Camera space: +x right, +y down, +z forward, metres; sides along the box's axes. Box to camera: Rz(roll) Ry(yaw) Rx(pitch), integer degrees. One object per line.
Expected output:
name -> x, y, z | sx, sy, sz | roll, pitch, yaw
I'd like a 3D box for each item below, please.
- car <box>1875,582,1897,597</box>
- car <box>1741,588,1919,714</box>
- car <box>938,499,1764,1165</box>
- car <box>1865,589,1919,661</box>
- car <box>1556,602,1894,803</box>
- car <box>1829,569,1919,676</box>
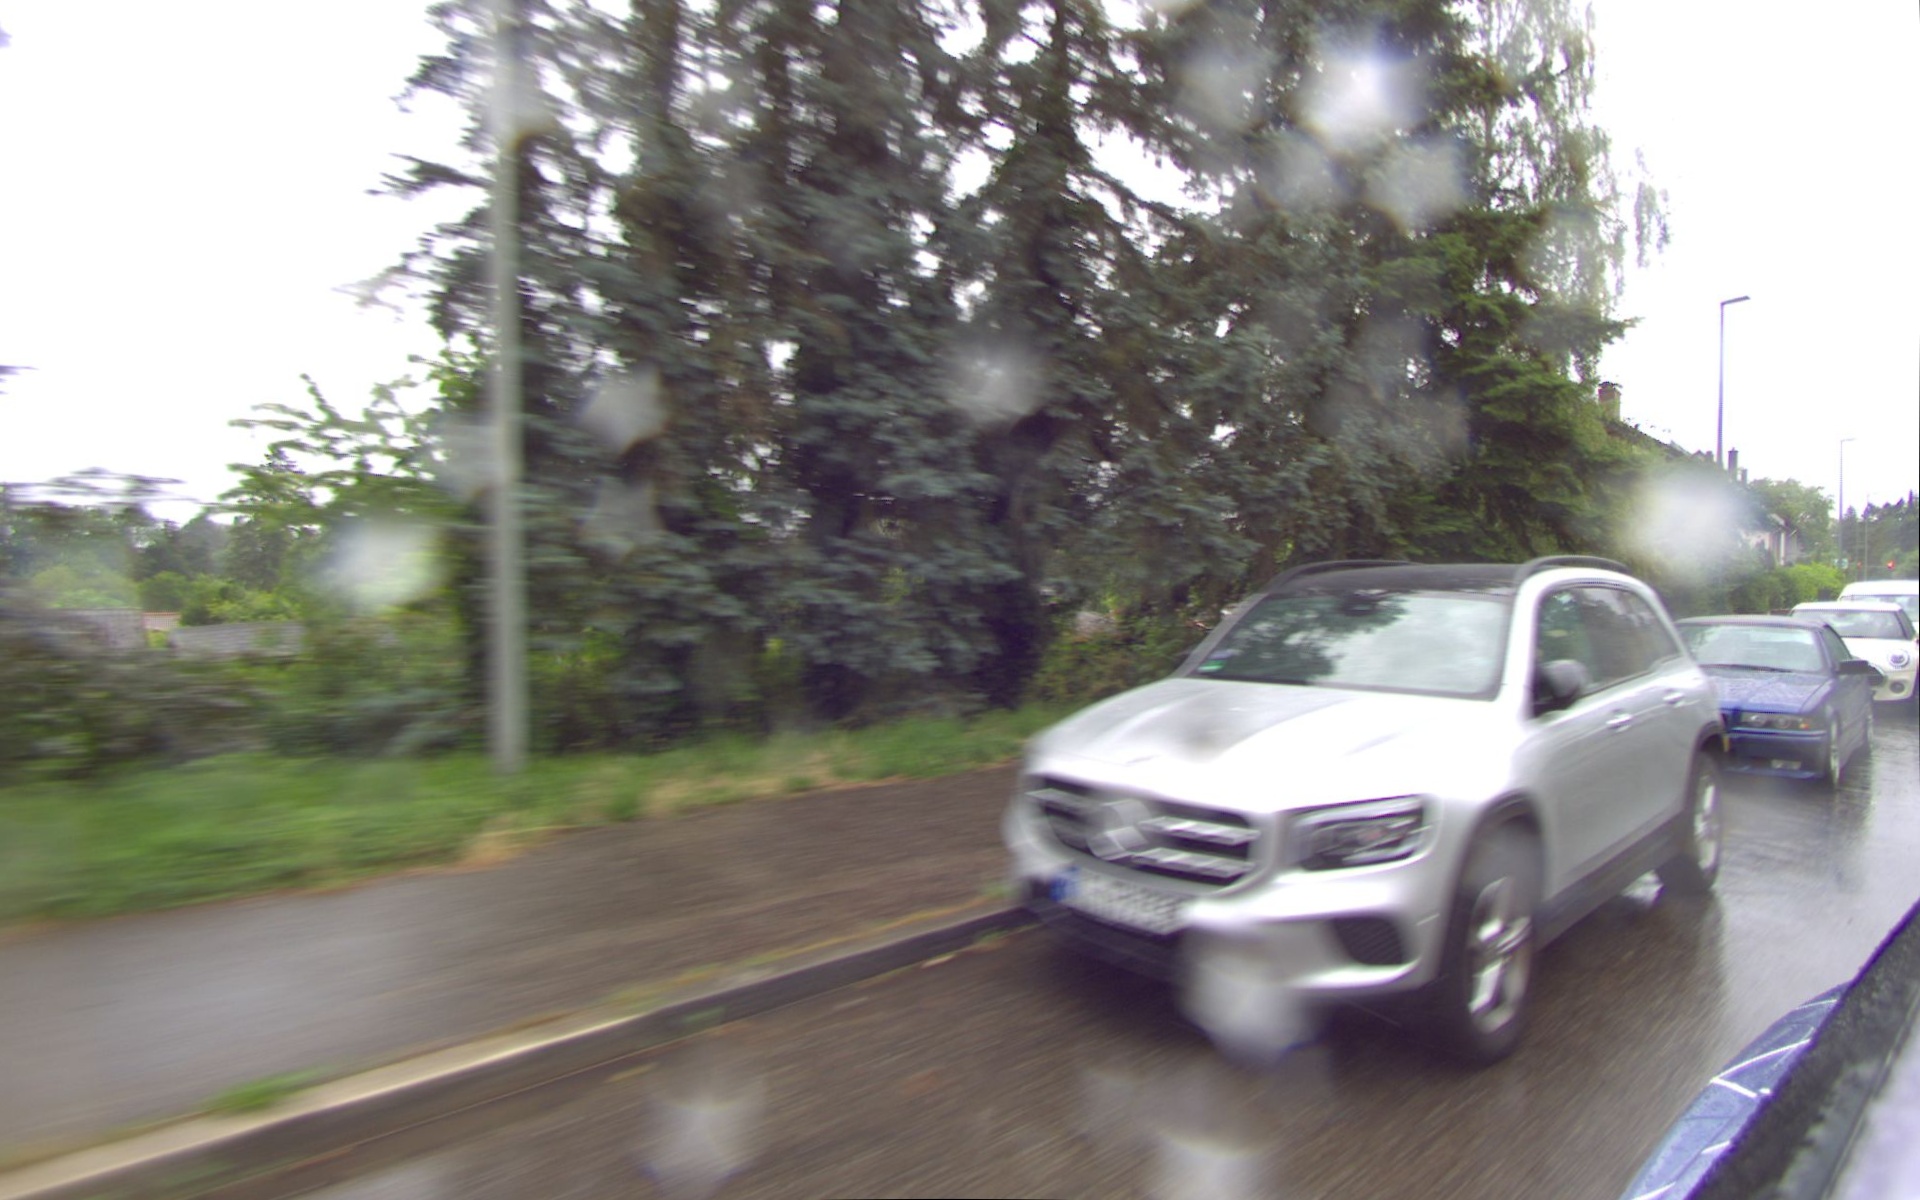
car -> 157.345, -1.824, 172.043 | 2.074, 2.508, 4.792 | 4, 3, 35
car -> 12.060, 0.569, 13.658 | 4.132, 1.421, 1.711 | -1, 1, -42
car -> 2.115, 0.542, 4.666 | 4.320, 1.666, 1.818 | -1, 1, -42
car -> 21.583, 0.507, 22.473 | 4.235, 1.478, 1.792 | -1, 1, -42
car -> 6.995, 0.713, 9.068 | 4.372, 1.298, 1.633 | -1, 1, -42
car -> 17.727, 0.352, 18.875 | 4.286, 1.813, 1.787 | -1, 1, -42
